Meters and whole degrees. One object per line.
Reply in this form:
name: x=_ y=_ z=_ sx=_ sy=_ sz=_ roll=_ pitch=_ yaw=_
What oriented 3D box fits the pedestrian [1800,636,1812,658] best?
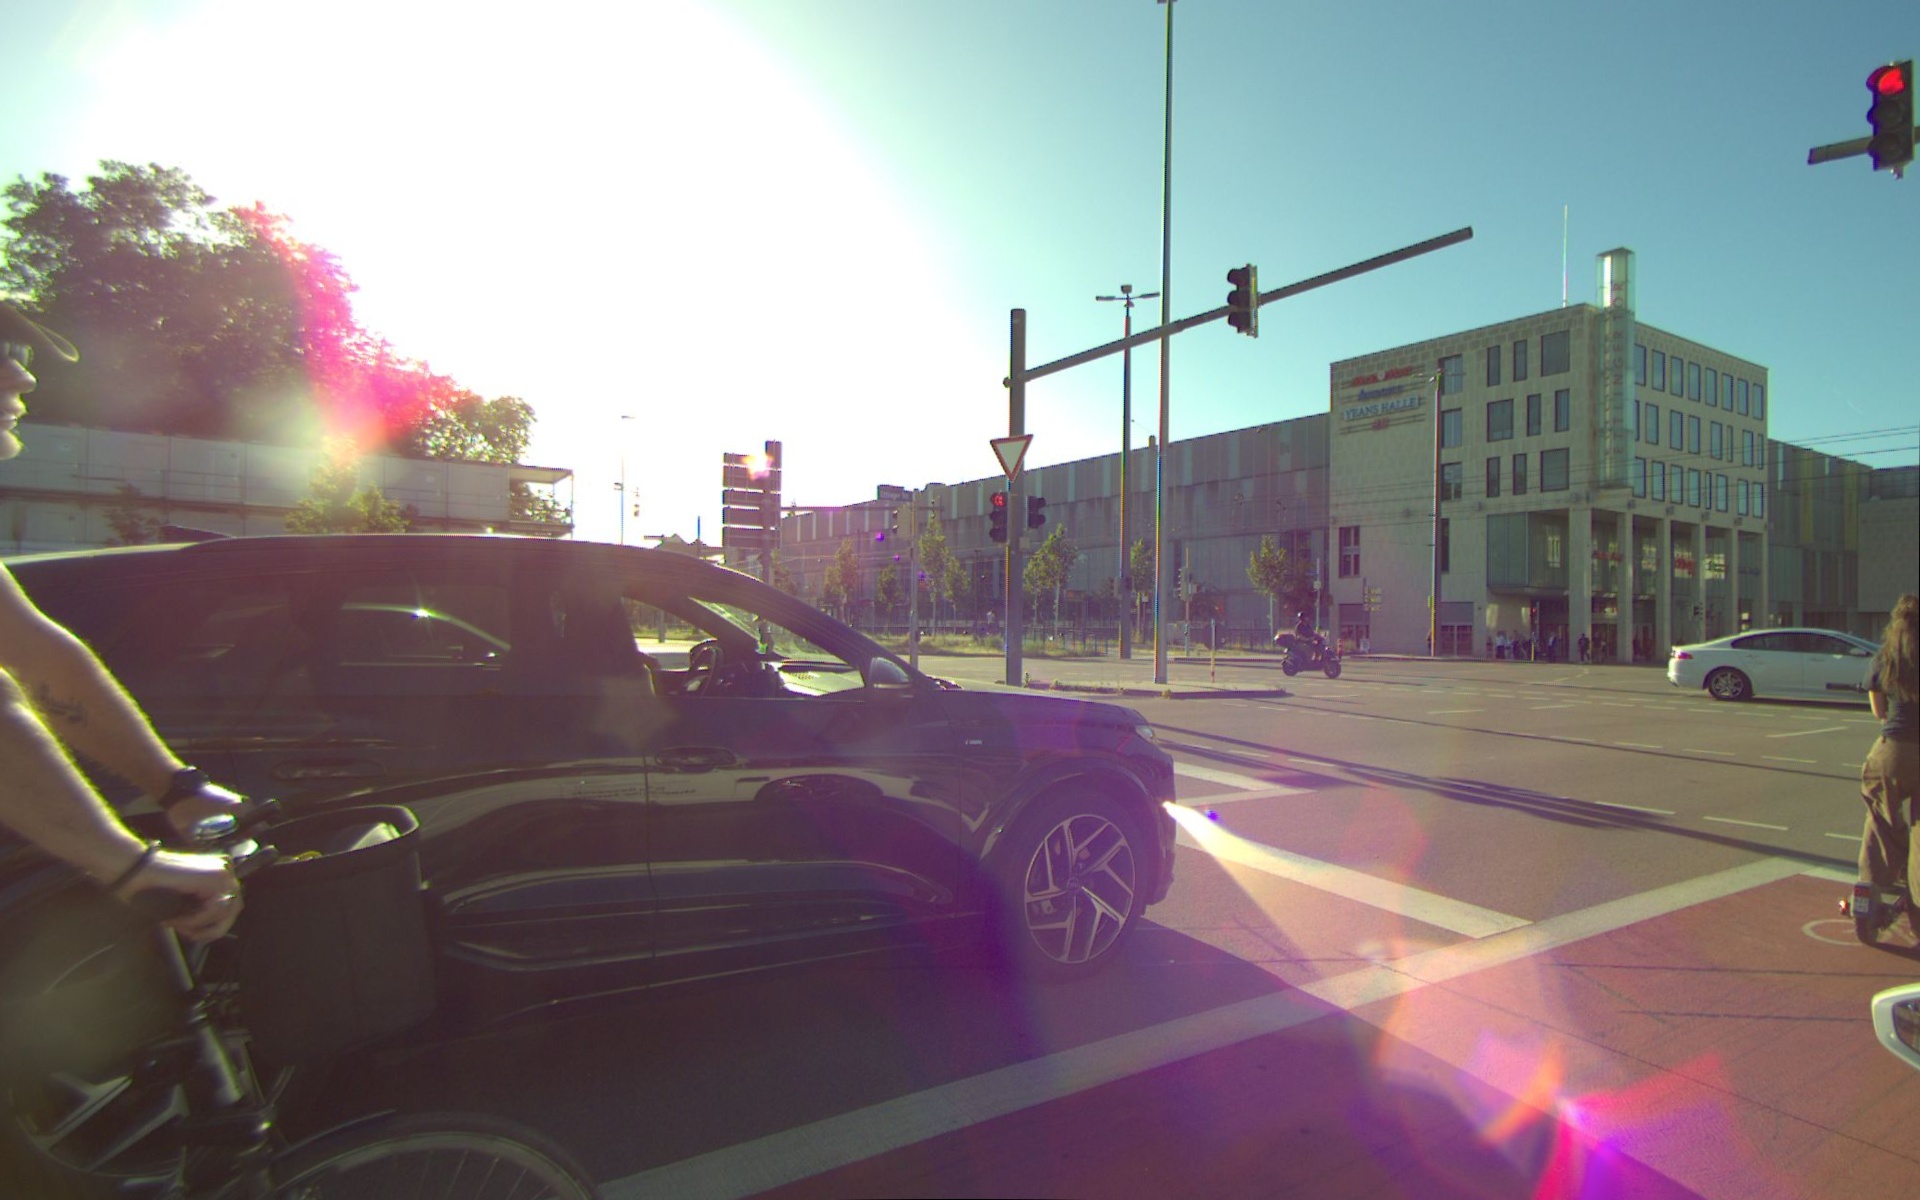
pedestrian: x=67.491 y=3.750 z=80.116 sx=0.510 sy=1.752 sz=0.472 roll=2 pitch=0 yaw=9

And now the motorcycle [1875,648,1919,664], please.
motorcycle: x=70.715 y=4.198 z=75.574 sx=1.106 sy=1.006 sz=2.582 roll=2 pitch=0 yaw=-38

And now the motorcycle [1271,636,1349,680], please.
motorcycle: x=9.256 y=1.515 z=26.632 sx=0.643 sy=1.115 sz=1.940 roll=1 pitch=-1 yaw=-37

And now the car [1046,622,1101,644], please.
car: x=9.093 y=2.651 z=80.779 sx=1.805 sy=1.706 sz=4.820 roll=1 pitch=-2 yaw=-31

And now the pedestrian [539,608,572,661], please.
pedestrian: x=-12.692 y=1.067 z=31.516 sx=0.736 sy=1.632 sz=0.716 roll=2 pitch=0 yaw=-5

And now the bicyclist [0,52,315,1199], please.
bicyclist: x=-1.316 y=0.332 z=1.202 sx=0.842 sy=1.723 sz=0.802 roll=1 pitch=-1 yaw=-30

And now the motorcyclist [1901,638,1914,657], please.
motorcyclist: x=71.112 y=3.582 z=75.390 sx=0.657 sy=1.424 sz=0.623 roll=2 pitch=0 yaw=-38

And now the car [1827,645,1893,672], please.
car: x=49.779 y=3.222 z=55.530 sx=3.975 sy=1.375 sz=1.668 roll=1 pitch=-1 yaw=-31

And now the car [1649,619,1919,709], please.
car: x=16.710 y=1.182 z=19.661 sx=1.986 sy=1.585 sz=5.035 roll=2 pitch=-2 yaw=-43

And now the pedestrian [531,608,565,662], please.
pedestrian: x=-12.626 y=1.065 z=30.767 sx=0.736 sy=1.632 sz=0.716 roll=2 pitch=0 yaw=-5

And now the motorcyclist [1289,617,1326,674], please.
motorcyclist: x=9.229 y=1.196 z=26.675 sx=0.594 sy=1.499 sz=0.744 roll=1 pitch=-1 yaw=-37

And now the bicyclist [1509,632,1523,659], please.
bicyclist: x=31.424 y=2.573 z=56.803 sx=0.577 sy=1.467 sz=0.628 roll=0 pitch=-1 yaw=19

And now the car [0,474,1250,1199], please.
car: x=-1.252 y=0.616 z=4.075 sx=4.613 sy=1.729 sz=2.153 roll=1 pitch=0 yaw=-32

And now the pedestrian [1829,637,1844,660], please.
pedestrian: x=68.015 y=3.755 z=77.952 sx=0.681 sy=1.752 sz=0.472 roll=2 pitch=0 yaw=9

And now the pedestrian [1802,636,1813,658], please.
pedestrian: x=68.422 y=3.783 z=81.105 sx=0.510 sy=1.752 sz=0.472 roll=2 pitch=0 yaw=9

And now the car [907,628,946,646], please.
car: x=-3.307 y=3.614 z=97.913 sx=1.805 sy=1.706 sz=4.379 roll=1 pitch=-2 yaw=-32

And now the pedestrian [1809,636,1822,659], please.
pedestrian: x=66.752 y=3.719 z=78.376 sx=0.615 sy=1.752 sz=0.472 roll=2 pitch=0 yaw=4

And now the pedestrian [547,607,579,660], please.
pedestrian: x=-12.760 y=1.069 z=32.277 sx=0.736 sy=1.632 sz=0.716 roll=2 pitch=0 yaw=-5

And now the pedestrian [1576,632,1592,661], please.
pedestrian: x=36.642 y=2.714 z=58.978 sx=0.622 sy=1.667 sz=0.589 roll=1 pitch=-1 yaw=-30

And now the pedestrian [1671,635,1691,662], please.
pedestrian: x=44.553 y=3.008 z=62.065 sx=0.616 sy=1.660 sz=0.777 roll=1 pitch=-1 yaw=-16

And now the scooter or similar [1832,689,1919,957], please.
scooter or similar: x=4.412 y=1.006 z=4.771 sx=0.832 sy=1.122 sz=0.303 roll=2 pitch=-1 yaw=-42

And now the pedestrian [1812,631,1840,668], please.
pedestrian: x=45.247 y=2.594 z=52.488 sx=0.529 sy=1.889 sz=0.943 roll=1 pitch=-1 yaw=-13

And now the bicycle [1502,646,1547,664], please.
bicycle: x=31.795 y=3.093 z=56.594 sx=2.176 sy=0.915 sz=0.637 roll=0 pitch=-1 yaw=25

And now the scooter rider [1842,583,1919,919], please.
scooter rider: x=4.612 y=0.703 z=4.779 sx=0.445 sy=1.550 sz=0.548 roll=1 pitch=-1 yaw=-38

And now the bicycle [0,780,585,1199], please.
bicycle: x=-1.466 y=0.898 z=1.107 sx=1.868 sy=1.162 sz=0.735 roll=1 pitch=-1 yaw=-30

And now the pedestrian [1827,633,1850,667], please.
pedestrian: x=44.692 y=2.548 z=51.089 sx=0.612 sy=1.710 sz=0.697 roll=1 pitch=-1 yaw=-29

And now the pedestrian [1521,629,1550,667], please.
pedestrian: x=26.176 y=2.193 z=45.698 sx=0.994 sy=1.697 sz=0.818 roll=1 pitch=-1 yaw=-33
